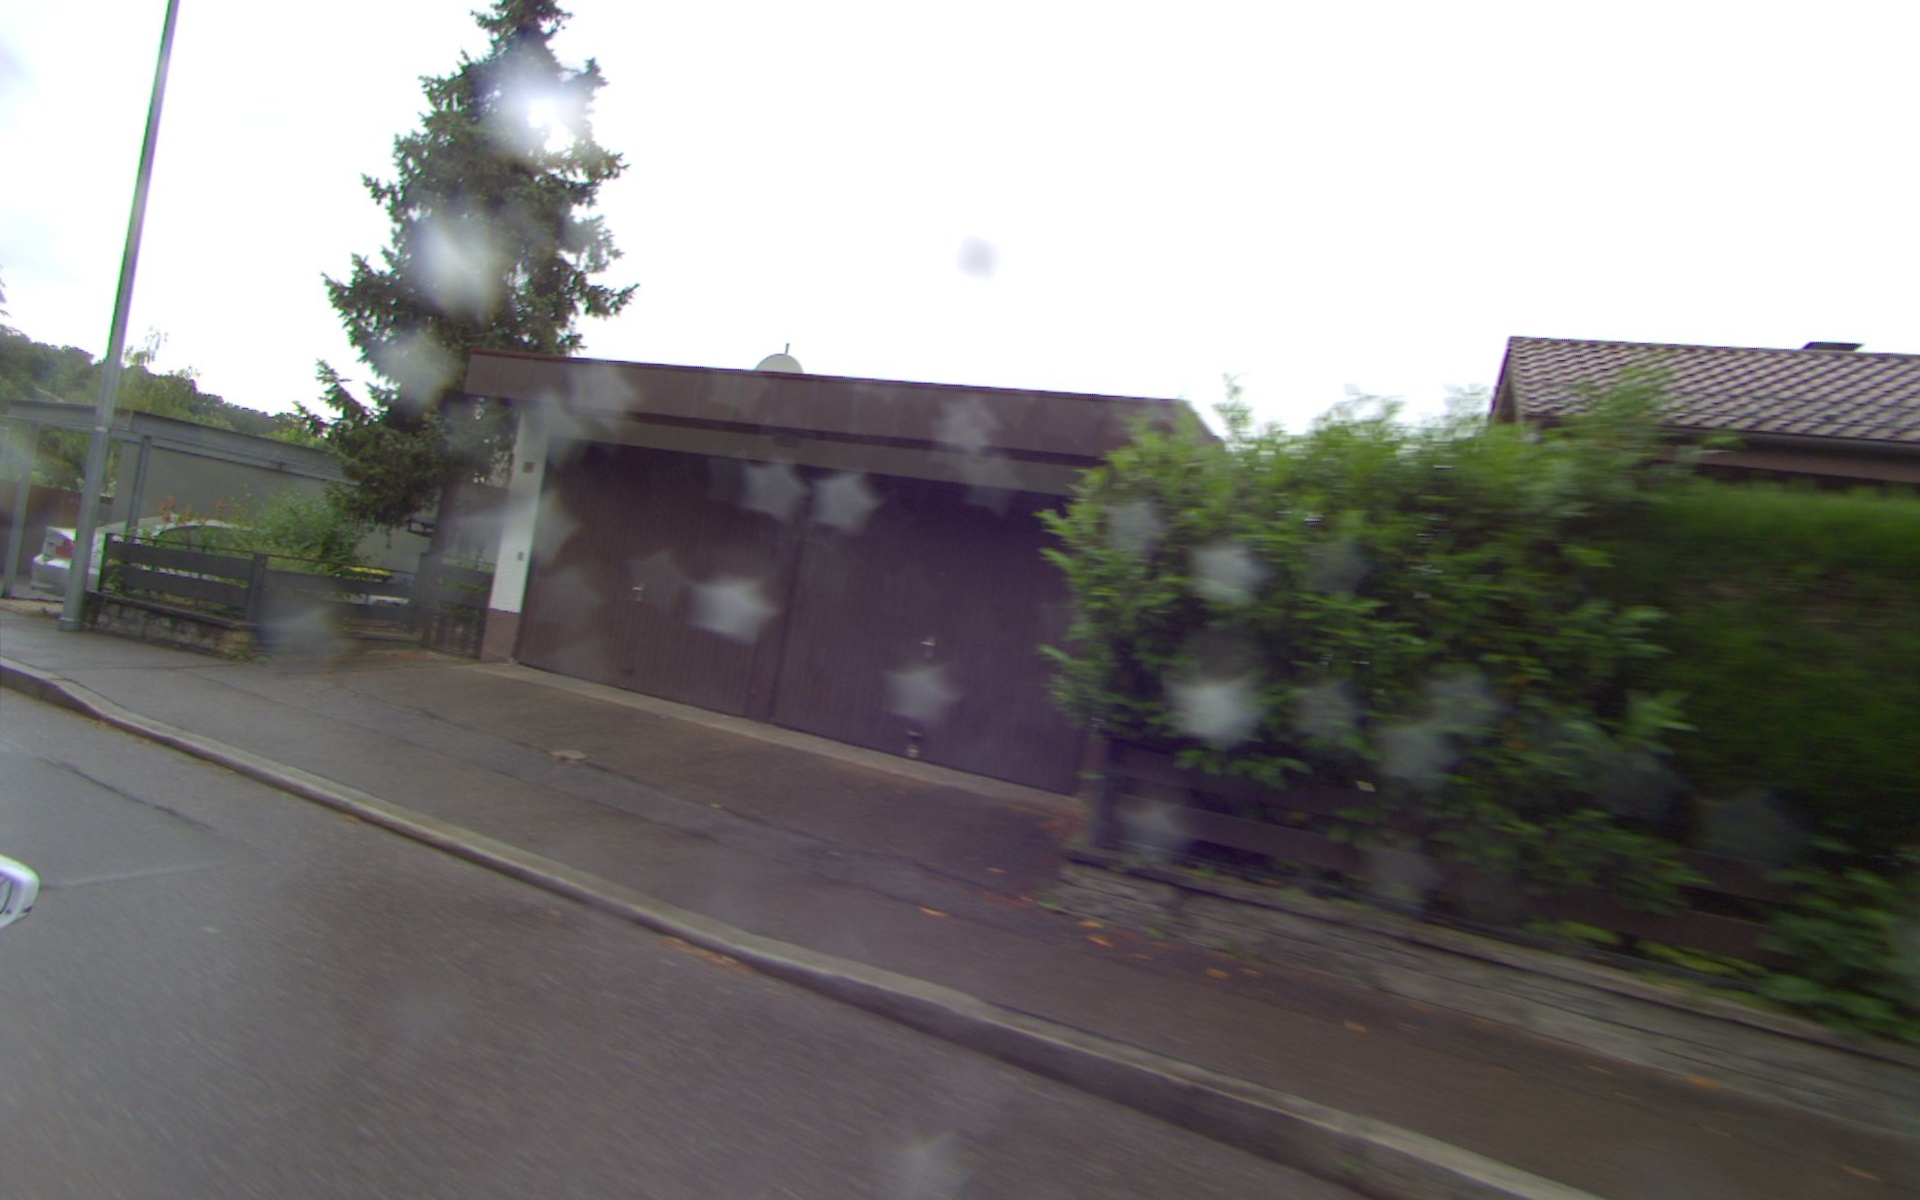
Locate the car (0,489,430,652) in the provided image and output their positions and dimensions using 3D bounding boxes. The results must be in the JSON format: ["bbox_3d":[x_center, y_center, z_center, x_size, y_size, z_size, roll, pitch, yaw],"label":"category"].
[{"bbox_3d":[-9.755,-0.308,13.439,1.914,1.430,4.216,5,-4,41],"label":"car"}]

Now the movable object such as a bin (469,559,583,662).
[{"bbox_3d":[-5.284,0.133,12.272,0.765,1.051,0.797,9,-4,26],"label":"movable object such as a bin"}]

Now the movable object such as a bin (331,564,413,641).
[{"bbox_3d":[-9.363,0.046,16.028,0.949,1.071,0.565,8,1,-40],"label":"movable object such as a bin"}]
